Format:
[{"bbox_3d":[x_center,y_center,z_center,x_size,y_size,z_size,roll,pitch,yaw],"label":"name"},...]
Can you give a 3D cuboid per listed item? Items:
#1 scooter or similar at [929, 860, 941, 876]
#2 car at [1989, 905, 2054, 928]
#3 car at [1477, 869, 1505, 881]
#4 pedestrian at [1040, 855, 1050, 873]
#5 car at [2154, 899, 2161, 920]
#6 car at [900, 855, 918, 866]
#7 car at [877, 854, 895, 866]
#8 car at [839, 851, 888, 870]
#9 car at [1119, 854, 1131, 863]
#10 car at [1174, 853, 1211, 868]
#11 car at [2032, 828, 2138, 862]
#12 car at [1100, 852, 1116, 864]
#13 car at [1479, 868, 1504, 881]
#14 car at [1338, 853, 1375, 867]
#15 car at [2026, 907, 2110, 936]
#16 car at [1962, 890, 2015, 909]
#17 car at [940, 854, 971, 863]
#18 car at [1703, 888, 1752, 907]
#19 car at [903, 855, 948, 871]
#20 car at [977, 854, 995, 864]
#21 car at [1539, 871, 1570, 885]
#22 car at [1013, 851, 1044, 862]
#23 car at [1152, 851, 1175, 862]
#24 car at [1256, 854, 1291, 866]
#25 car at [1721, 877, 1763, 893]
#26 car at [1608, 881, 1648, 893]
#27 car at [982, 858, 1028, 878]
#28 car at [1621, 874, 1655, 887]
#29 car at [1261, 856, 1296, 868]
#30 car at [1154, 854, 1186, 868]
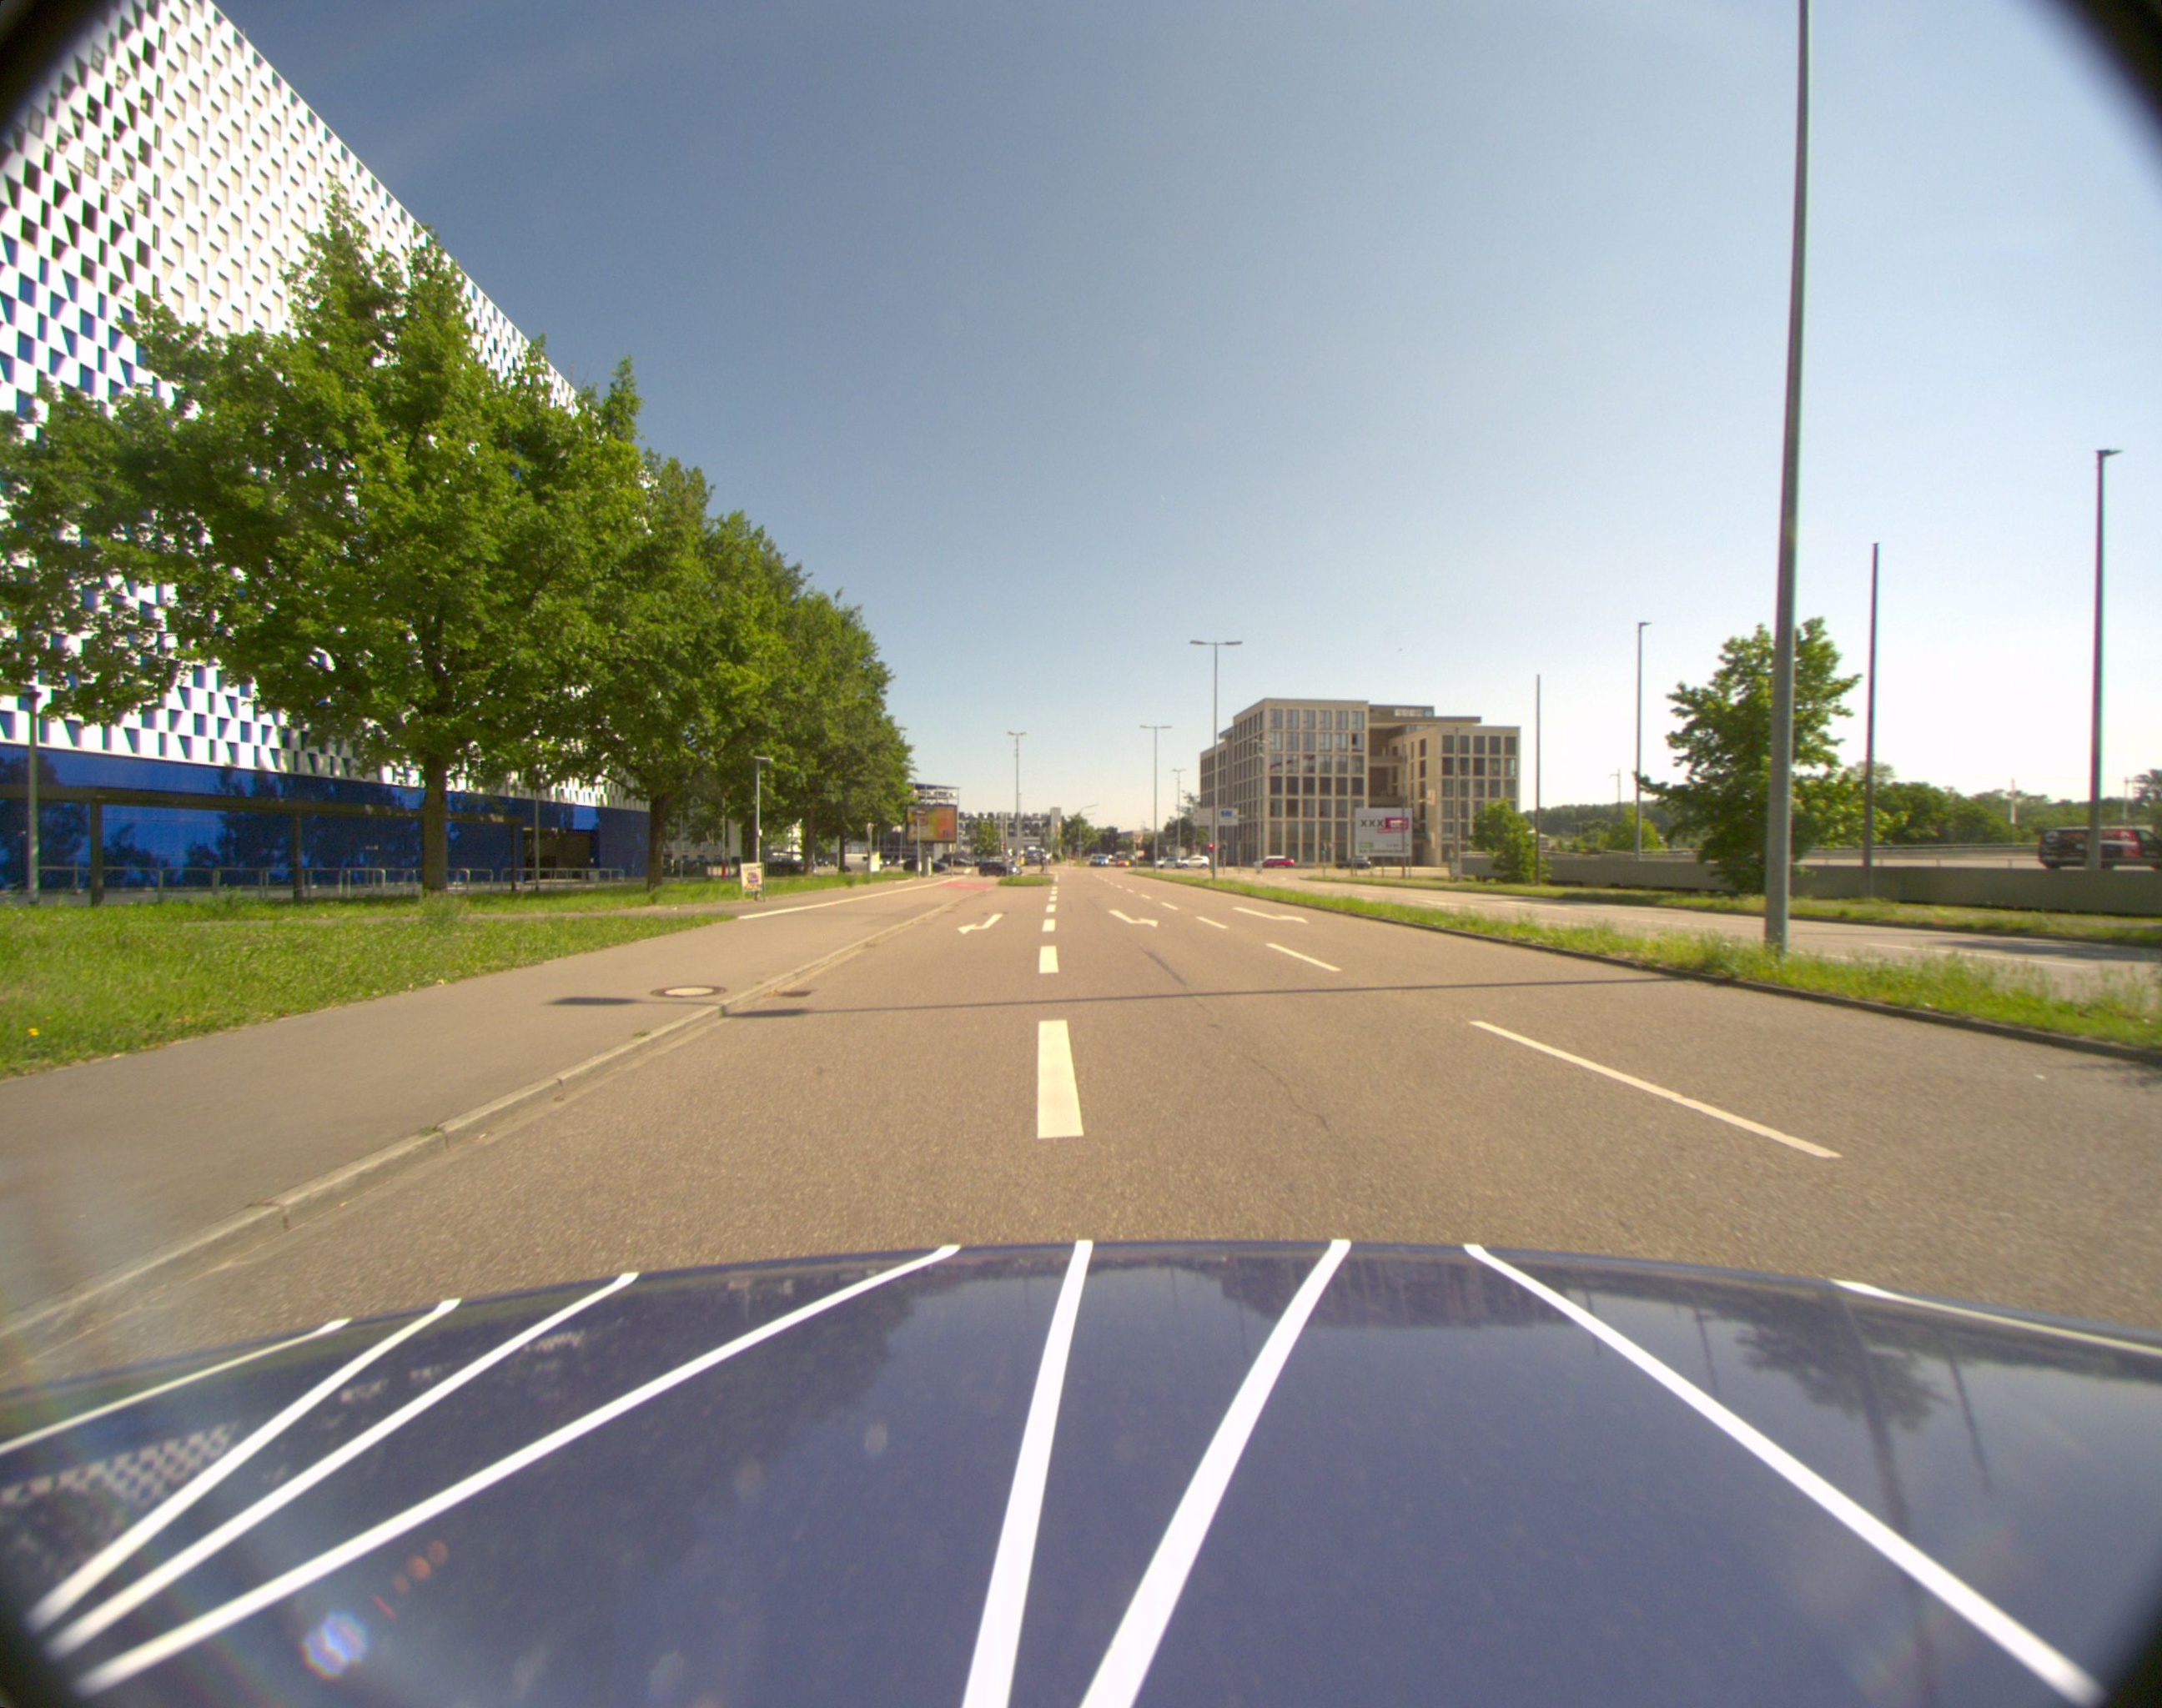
[{"bbox_3d":[-11.108,1.039,57.857,0.402,1.160,1.185,0,2,13],"label":"scooter or similar"},{"bbox_3d":[45.246,2.983,36.576,1.943,0.970,1.070,0,1,-7],"label":"car"},{"bbox_3d":[35.398,1.839,65.648,1.943,0.969,0.890,0,-5,-7],"label":"car"},{"bbox_3d":[-3.575,1.000,75.394,0.705,1.769,0.961,1,1,21],"label":"pedestrian"},{"bbox_3d":[53.433,2.695,36.672,1.943,0.970,1.070,0,1,-7],"label":"car"},{"bbox_3d":[-24.229,0.906,107.356,2.005,1.413,4.111,-2,0,-7],"label":"car"},{"bbox_3d":[-27.478,0.831,106.972,1.888,1.537,3.886,0,0,-6],"label":"car"},{"bbox_3d":[-24.267,0.731,84.928,4.999,1.996,1.739,0,2,-6],"label":"car"},{"bbox_3d":[6.704,0.614,115.116,1.738,1.356,3.867,0,0,5],"label":"car"},{"bbox_3d":[14.244,0.832,97.072,4.313,1.827,2.024,0,1,-12],"label":"car"},{"bbox_3d":[46.728,-0.393,35.415,2.775,1.547,1.773,0,0,-5],"label":"car"},{"bbox_3d":[4.097,0.597,115.516,2.185,1.898,4.732,0,0,5],"label":"car"},{"bbox_3d":[30.921,1.548,57.261,1.505,0.877,0.791,0,2,-7],"label":"car"},{"bbox_3d":[37.136,0.765,102.506,4.241,1.878,1.834,0,1,-3],"label":"car"},{"bbox_3d":[37.445,2.540,28.842,1.943,0.970,1.070,0,1,-7],"label":"car"},{"bbox_3d":[52.642,2.638,44.096,1.943,0.970,1.070,0,1,-7],"label":"car"},{"bbox_3d":[-17.924,0.658,108.696,4.350,1.342,1.820,0,0,-6],"label":"car"},{"bbox_3d":[36.780,2.447,43.252,1.943,0.970,1.070,0,1,-7],"label":"car"},{"bbox_3d":[-16.783,0.948,82.139,4.502,1.618,1.714,-1,2,-6],"label":"car"},{"bbox_3d":[-13.561,0.713,108.512,1.998,1.452,4.000,0,0,1],"label":"car"},{"bbox_3d":[35.883,1.799,57.580,1.848,0.970,0.866,0,2,-7],"label":"car"},{"bbox_3d":[-7.710,0.380,112.340,4.480,1.578,1.979,0,0,-3],"label":"car"},{"bbox_3d":[15.578,0.452,143.313,3.991,2.002,2.003,0,1,17],"label":"car"},{"bbox_3d":[25.813,0.806,102.052,4.230,1.701,1.903,0,0,-6],"label":"car"},{"bbox_3d":[44.205,2.056,50.804,1.943,0.970,1.070,0,1,-7],"label":"car"},{"bbox_3d":[36.501,2.212,50.688,2.087,0.729,0.906,0,1,-7],"label":"car"},{"bbox_3d":[-6.777,1.204,67.380,1.775,1.456,4.225,-2,4,-44],"label":"car"},{"bbox_3d":[42.295,1.995,57.680,1.943,0.970,0.886,0,2,-6],"label":"car"},{"bbox_3d":[25.630,1.041,98.617,4.119,1.518,1.530,0,0,-6],"label":"car"},{"bbox_3d":[11.546,0.947,99.003,3.766,1.703,1.832,0,1,-9],"label":"car"}]
